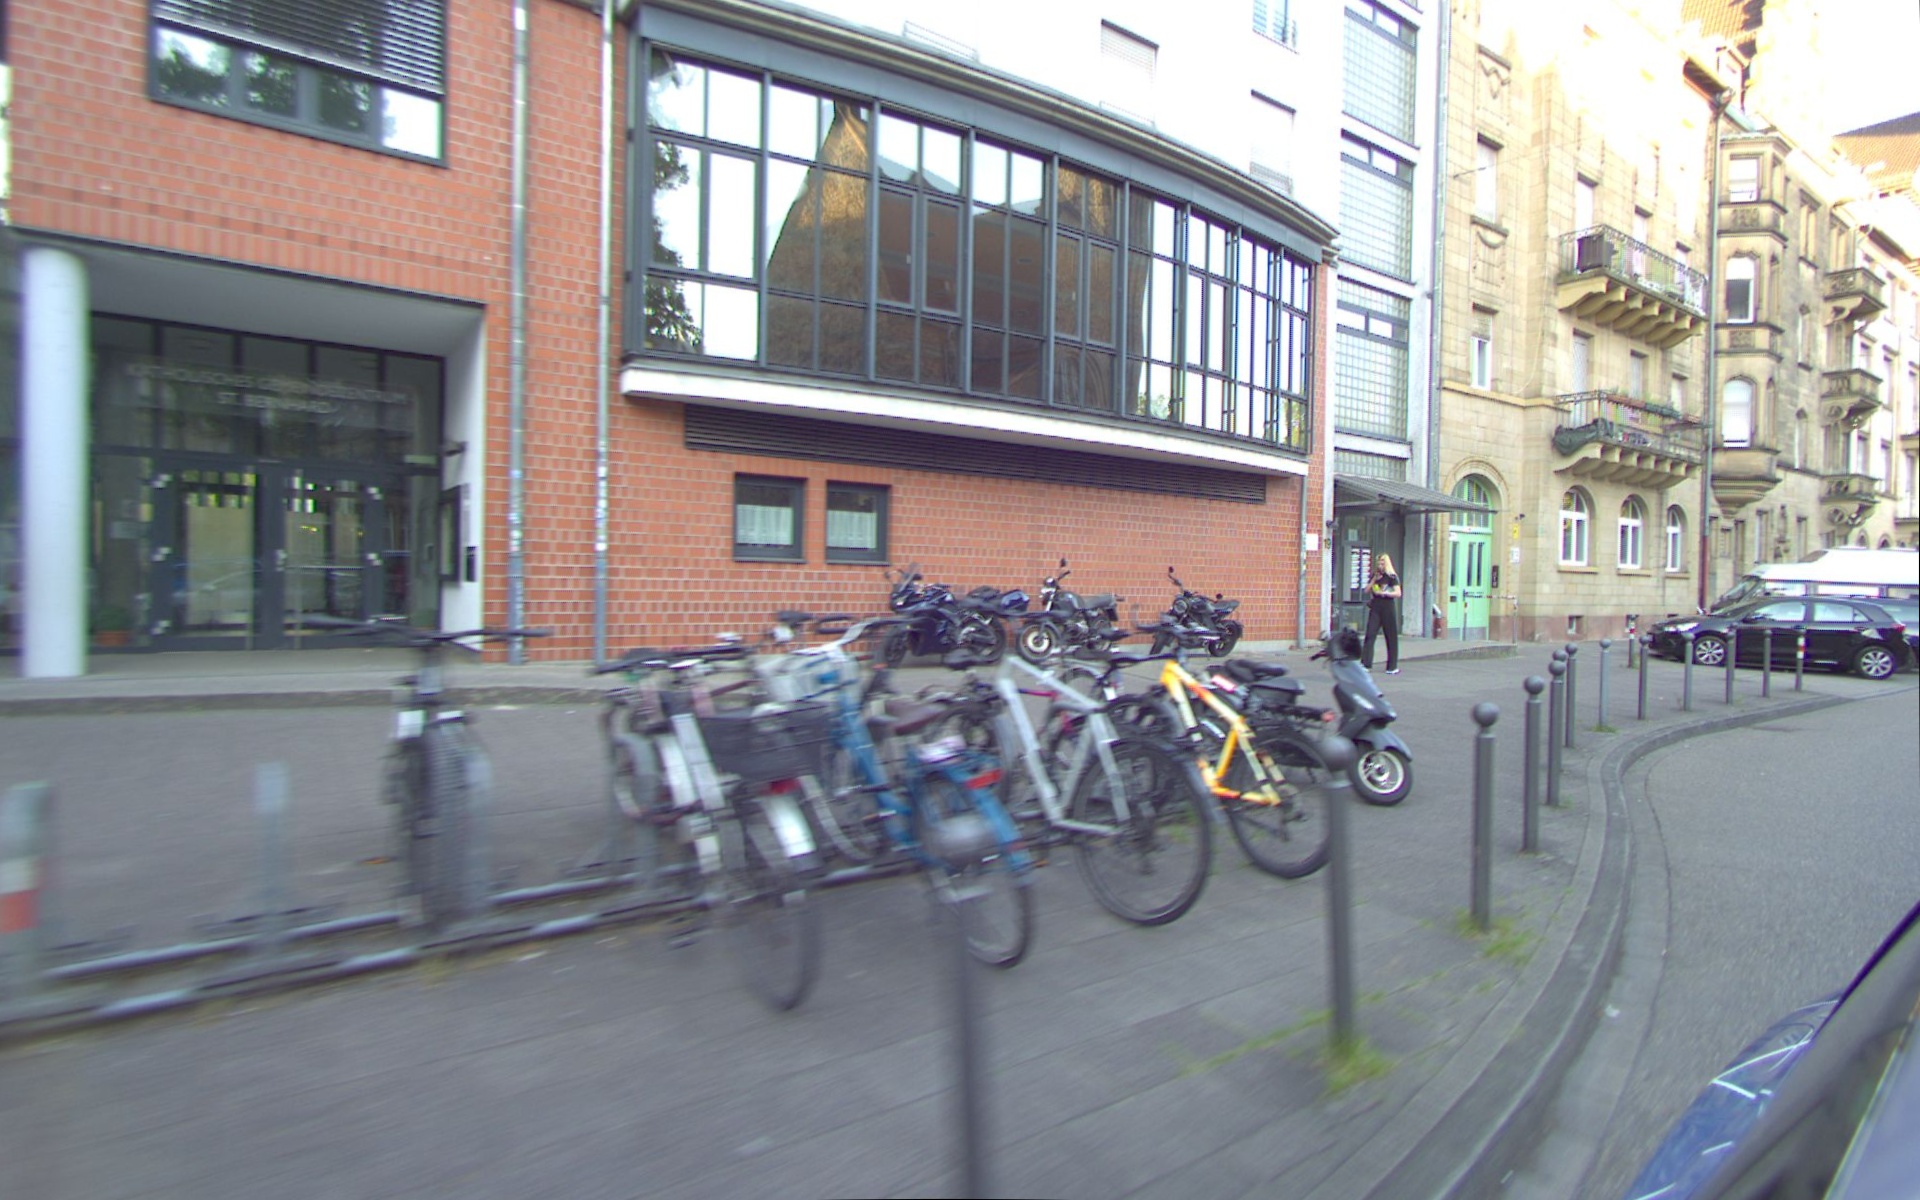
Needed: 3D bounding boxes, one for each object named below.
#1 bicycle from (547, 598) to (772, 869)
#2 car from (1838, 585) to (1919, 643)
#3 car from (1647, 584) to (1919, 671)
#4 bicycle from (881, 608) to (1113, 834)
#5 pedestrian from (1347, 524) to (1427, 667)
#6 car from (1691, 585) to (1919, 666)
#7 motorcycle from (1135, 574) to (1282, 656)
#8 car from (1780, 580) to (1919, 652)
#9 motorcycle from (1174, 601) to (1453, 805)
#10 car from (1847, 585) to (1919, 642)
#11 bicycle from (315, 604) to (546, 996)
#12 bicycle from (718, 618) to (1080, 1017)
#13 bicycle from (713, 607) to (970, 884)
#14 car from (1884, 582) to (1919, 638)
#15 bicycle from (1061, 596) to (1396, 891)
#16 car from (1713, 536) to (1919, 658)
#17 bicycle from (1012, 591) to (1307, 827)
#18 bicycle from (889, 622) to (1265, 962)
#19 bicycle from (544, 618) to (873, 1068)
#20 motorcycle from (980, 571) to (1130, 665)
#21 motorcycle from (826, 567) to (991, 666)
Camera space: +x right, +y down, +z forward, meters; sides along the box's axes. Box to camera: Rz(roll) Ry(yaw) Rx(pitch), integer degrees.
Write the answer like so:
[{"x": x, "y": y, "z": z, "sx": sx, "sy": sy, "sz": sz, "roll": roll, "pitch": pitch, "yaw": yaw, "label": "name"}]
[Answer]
[{"x": -1.649, "y": 0.584, "z": 5.322, "sx": 0.514, "sy": 1.079, "sz": 1.864, "roll": 0, "pitch": 3, "yaw": -36, "label": "bicycle"}, {"x": 26.843, "y": 0.445, "z": 27.520, "sx": 3.986, "sy": 1.449, "sz": 1.856, "roll": 4, "pitch": 3, "yaw": 21, "label": "car"}, {"x": 16.006, "y": 0.470, "z": 19.721, "sx": 4.026, "sy": 1.510, "sz": 1.710, "roll": 1, "pitch": 1, "yaw": 24, "label": "car"}, {"x": 0.158, "y": 0.625, "z": 5.918, "sx": 0.463, "sy": 1.051, "sz": 1.545, "roll": 0, "pitch": 3, "yaw": -36, "label": "bicycle"}, {"x": 6.313, "y": -0.076, "z": 14.964, "sx": 0.841, "sy": 2.037, "sz": 0.609, "roll": 0, "pitch": 5, "yaw": -35, "label": "pedestrian"}, {"x": 18.065, "y": 0.476, "z": 21.055, "sx": 4.315, "sy": 1.521, "sz": 1.895, "roll": 2, "pitch": 1, "yaw": 27, "label": "car"}, {"x": 3.838, "y": 0.210, "z": 15.531, "sx": 2.394, "sy": 1.153, "sz": 0.802, "roll": 0, "pitch": 3, "yaw": -36, "label": "motorcycle"}, {"x": 22.532, "y": 0.416, "z": 23.997, "sx": 4.353, "sy": 1.504, "sz": 1.829, "roll": 4, "pitch": 3, "yaw": 25, "label": "car"}, {"x": 2.357, "y": 0.623, "z": 6.905, "sx": 0.636, "sy": 1.115, "sz": 1.647, "roll": 0, "pitch": 4, "yaw": -43, "label": "motorcycle"}, {"x": 28.593, "y": 0.448, "z": 29.233, "sx": 4.007, "sy": 1.516, "sz": 1.744, "roll": 3, "pitch": 3, "yaw": 20, "label": "car"}, {"x": -2.168, "y": 0.616, "z": 4.005, "sx": 0.514, "sy": 1.079, "sz": 1.918, "roll": 0, "pitch": 3, "yaw": -36, "label": "bicycle"}, {"x": -0.350, "y": 0.677, "z": 3.947, "sx": 0.437, "sy": 1.079, "sz": 1.864, "roll": 0, "pitch": 3, "yaw": -36, "label": "bicycle"}, {"x": -0.681, "y": 0.620, "z": 5.124, "sx": 0.394, "sy": 1.051, "sz": 1.864, "roll": 0, "pitch": 3, "yaw": -36, "label": "bicycle"}, {"x": 31.096, "y": 0.402, "z": 30.680, "sx": 4.044, "sy": 1.627, "sz": 1.807, "roll": 3, "pitch": 3, "yaw": 17, "label": "car"}, {"x": 1.287, "y": 0.620, "z": 5.212, "sx": 0.463, "sy": 1.190, "sz": 1.713, "roll": 0, "pitch": 3, "yaw": -36, "label": "bicycle"}, {"x": 19.981, "y": -0.098, "z": 22.641, "sx": 4.678, "sy": 2.578, "sz": 1.902, "roll": 1, "pitch": 2, "yaw": 26, "label": "car"}, {"x": 1.189, "y": 0.590, "z": 6.470, "sx": 0.646, "sy": 1.160, "sz": 1.866, "roll": 1, "pitch": 4, "yaw": -35, "label": "bicycle"}, {"x": 0.396, "y": 0.697, "z": 4.439, "sx": 0.463, "sy": 1.051, "sz": 1.864, "roll": 0, "pitch": 3, "yaw": -36, "label": "bicycle"}, {"x": -0.999, "y": 0.674, "z": 3.601, "sx": 0.437, "sy": 1.079, "sz": 1.864, "roll": 0, "pitch": 3, "yaw": -36, "label": "bicycle"}, {"x": 1.346, "y": 0.198, "z": 13.858, "sx": 0.775, "sy": 1.153, "sz": 2.380, "roll": 4, "pitch": 3, "yaw": 41, "label": "motorcycle"}, {"x": -0.603, "y": 0.175, "z": 12.516, "sx": 2.046, "sy": 1.116, "sz": 0.590, "roll": 0, "pitch": 4, "yaw": -39, "label": "motorcycle"}]
